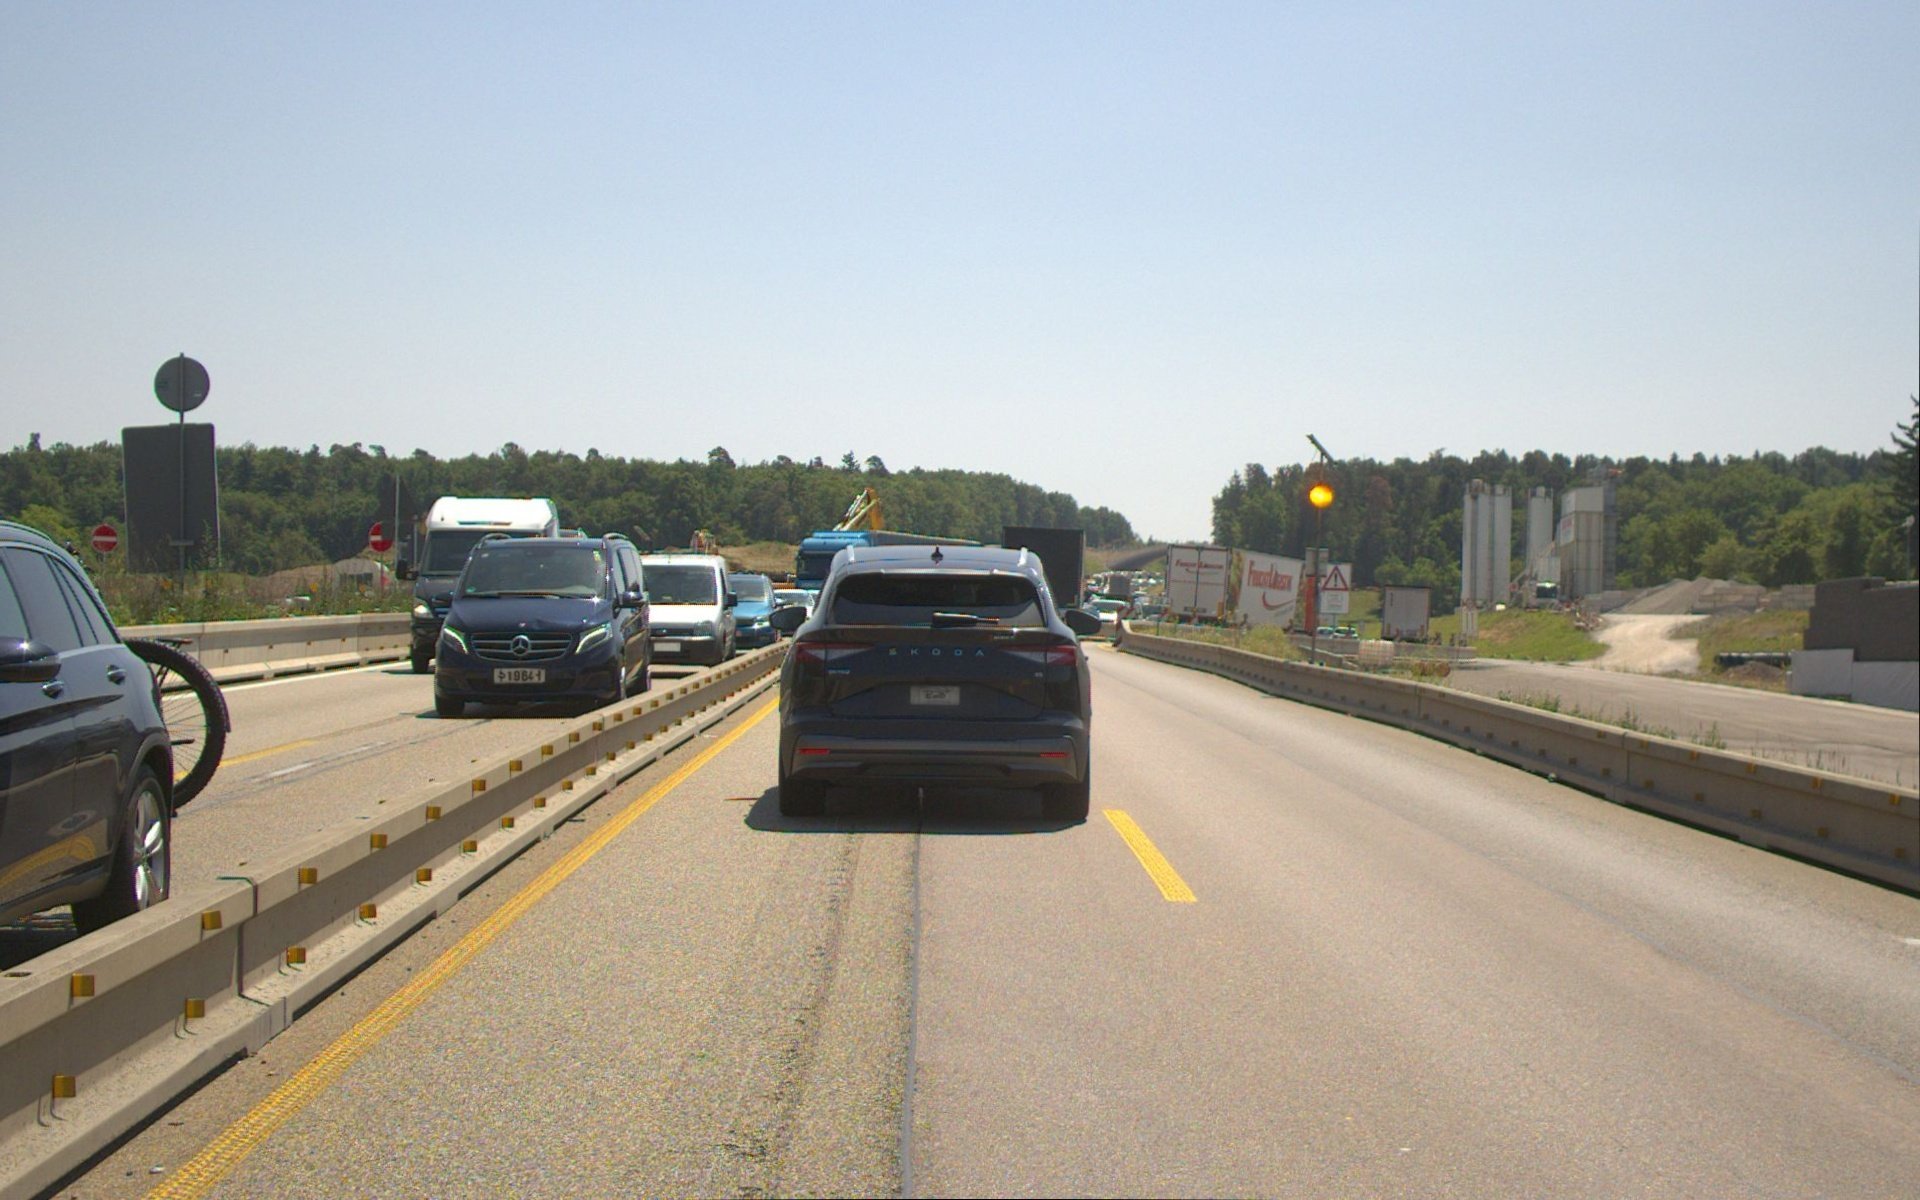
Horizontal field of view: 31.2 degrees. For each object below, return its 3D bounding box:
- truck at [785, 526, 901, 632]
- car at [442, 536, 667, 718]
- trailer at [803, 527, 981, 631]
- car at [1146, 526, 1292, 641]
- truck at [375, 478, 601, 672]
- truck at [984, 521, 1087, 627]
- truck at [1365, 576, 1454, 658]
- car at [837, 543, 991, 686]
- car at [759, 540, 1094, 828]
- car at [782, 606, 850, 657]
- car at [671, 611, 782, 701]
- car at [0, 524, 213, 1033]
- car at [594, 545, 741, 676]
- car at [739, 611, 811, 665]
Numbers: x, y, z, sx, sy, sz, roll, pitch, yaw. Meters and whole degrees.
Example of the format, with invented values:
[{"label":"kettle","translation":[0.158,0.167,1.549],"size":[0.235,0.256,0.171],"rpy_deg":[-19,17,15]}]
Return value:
[{"label":"truck","translation":[-4.627,-0.822,137.625],"size":[2.916,4.115,6.134],"rpy_deg":[1,0,15]},{"label":"car","translation":[-4.317,0.226,37.284],"size":[1.907,1.798,5.082],"rpy_deg":[1,1,-1]},{"label":"trailer","translation":[-2.692,-0.806,143.863],"size":[2.917,4.115,13.903],"rpy_deg":[1,0,18]},{"label":"car","translation":[10.577,-0.593,139.111],"size":[3.440,4.087,9.188],"rpy_deg":[5,0,18]},{"label":"truck","translation":[-7.393,-0.396,54.820],"size":[2.480,2.814,8.129],"rpy_deg":[1,0,0]},{"label":"truck","translation":[2.220,-0.782,99.259],"size":[2.673,2.935,5.620],"rpy_deg":[1,1,4]},{"label":"truck","translation":[25.687,1.029,196.014],"size":[3.478,4.206,10.369],"rpy_deg":[7,0,14]},{"label":"car","translation":[-0.674,0.192,48.420],"size":[1.993,1.838,4.000],"rpy_deg":[3,0,-2]},{"label":"car","translation":[-0.177,0.488,21.229],"size":[1.842,1.576,4.000],"rpy_deg":[1,-1,0]},{"label":"car","translation":[-4.531,0.979,108.486],"size":[2.016,1.439,4.588],"rpy_deg":[1,1,-1]},{"label":"car","translation":[-4.564,1.083,67.707],"size":[1.904,1.603,4.000],"rpy_deg":[1,1,0]},{"label":"car","translation":[-3.956,0.534,11.709],"size":[1.855,1.598,4.736],"rpy_deg":[1,1,-1]},{"label":"car","translation":[-4.319,0.114,51.294],"size":[1.853,1.833,4.591],"rpy_deg":[1,1,-1]},{"label":"car","translation":[-5.099,1.034,95.182],"size":[1.816,1.371,4.248],"rpy_deg":[-2,1,-1]}]
